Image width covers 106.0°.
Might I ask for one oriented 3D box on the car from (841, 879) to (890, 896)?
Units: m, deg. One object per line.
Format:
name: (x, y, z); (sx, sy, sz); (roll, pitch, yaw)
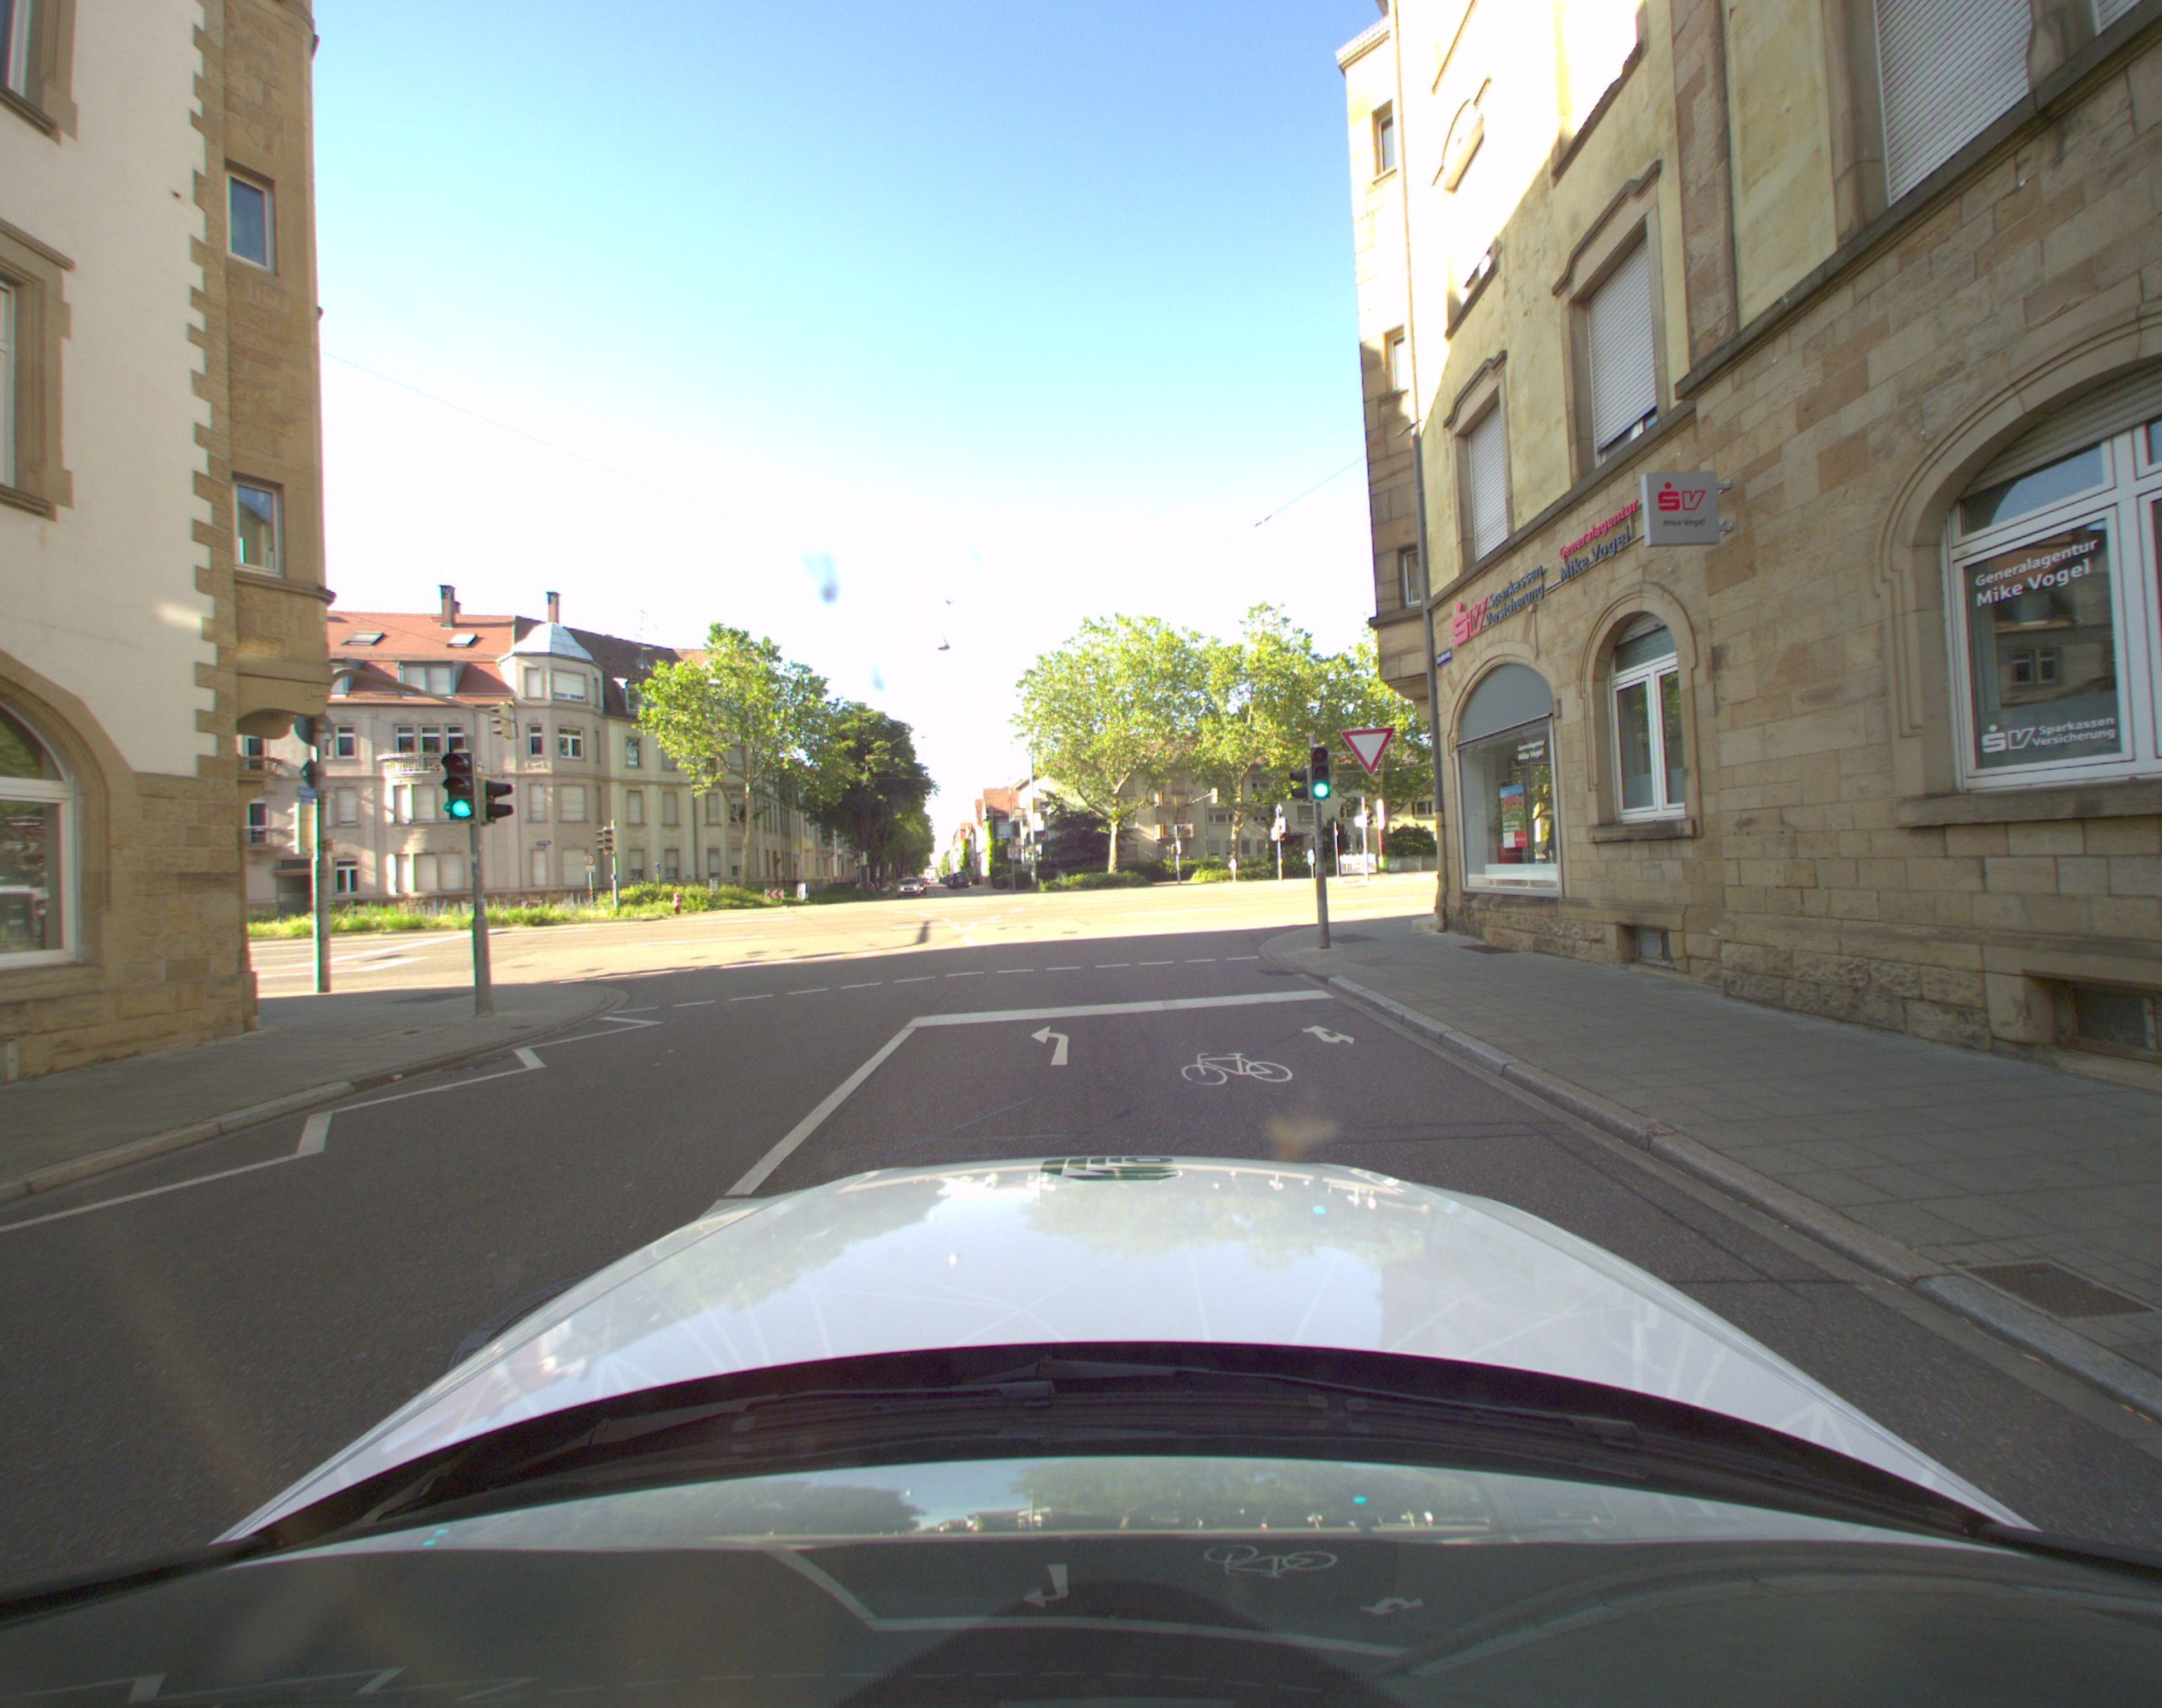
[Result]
car: (-19.860, 3.085, 75.095); (4.214, 1.349, 1.696); (-2, -2, -12)

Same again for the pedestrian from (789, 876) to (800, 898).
pedestrian: (-21.425, 2.469, 60.950); (0.459, 1.658, 0.893); (-3, -2, -3)

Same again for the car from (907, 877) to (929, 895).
car: (-13.968, 2.712, 69.751); (1.661, 1.464, 3.795); (-3, -1, -10)

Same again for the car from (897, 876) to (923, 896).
car: (-13.354, 2.532, 63.706); (1.807, 1.458, 3.983); (-3, -2, -12)

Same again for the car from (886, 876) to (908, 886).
car: (-33.367, 4.887, 147.594); (3.993, 1.761, 1.789); (0, -2, -15)

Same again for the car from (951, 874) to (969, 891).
car: (-14.197, 3.324, 95.516); (1.865, 1.916, 4.764); (-1, -1, -10)

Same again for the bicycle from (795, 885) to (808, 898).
bicycle: (-20.917, 2.815, 60.879); (0.471, 0.912, 1.594); (-3, -1, -4)

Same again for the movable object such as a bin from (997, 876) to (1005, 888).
movable object such as a bin: (-7.163, 2.486, 72.900); (0.598, 1.044, 0.704); (-6, -1, -13)

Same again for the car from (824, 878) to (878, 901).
car: (-18.019, 2.789, 63.950); (3.885, 1.476, 1.609); (-3, -1, -12)

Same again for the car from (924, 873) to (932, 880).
car: (-32.955, 4.880, 175.551); (1.642, 1.508, 3.687); (-4, -1, -11)

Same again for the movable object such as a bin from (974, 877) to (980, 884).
movable object such as a bin: (-14.877, 3.789, 116.414); (0.648, 1.040, 0.824); (-3, -1, -13)

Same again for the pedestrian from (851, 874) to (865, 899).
pedestrian: (-15.556, 2.280, 56.809); (0.691, 1.682, 0.680); (-3, -1, 0)

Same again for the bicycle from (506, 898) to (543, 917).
bicycle: (-28.408, 2.722, 41.598); (1.437, 0.905, 0.494); (-2, -1, -15)
